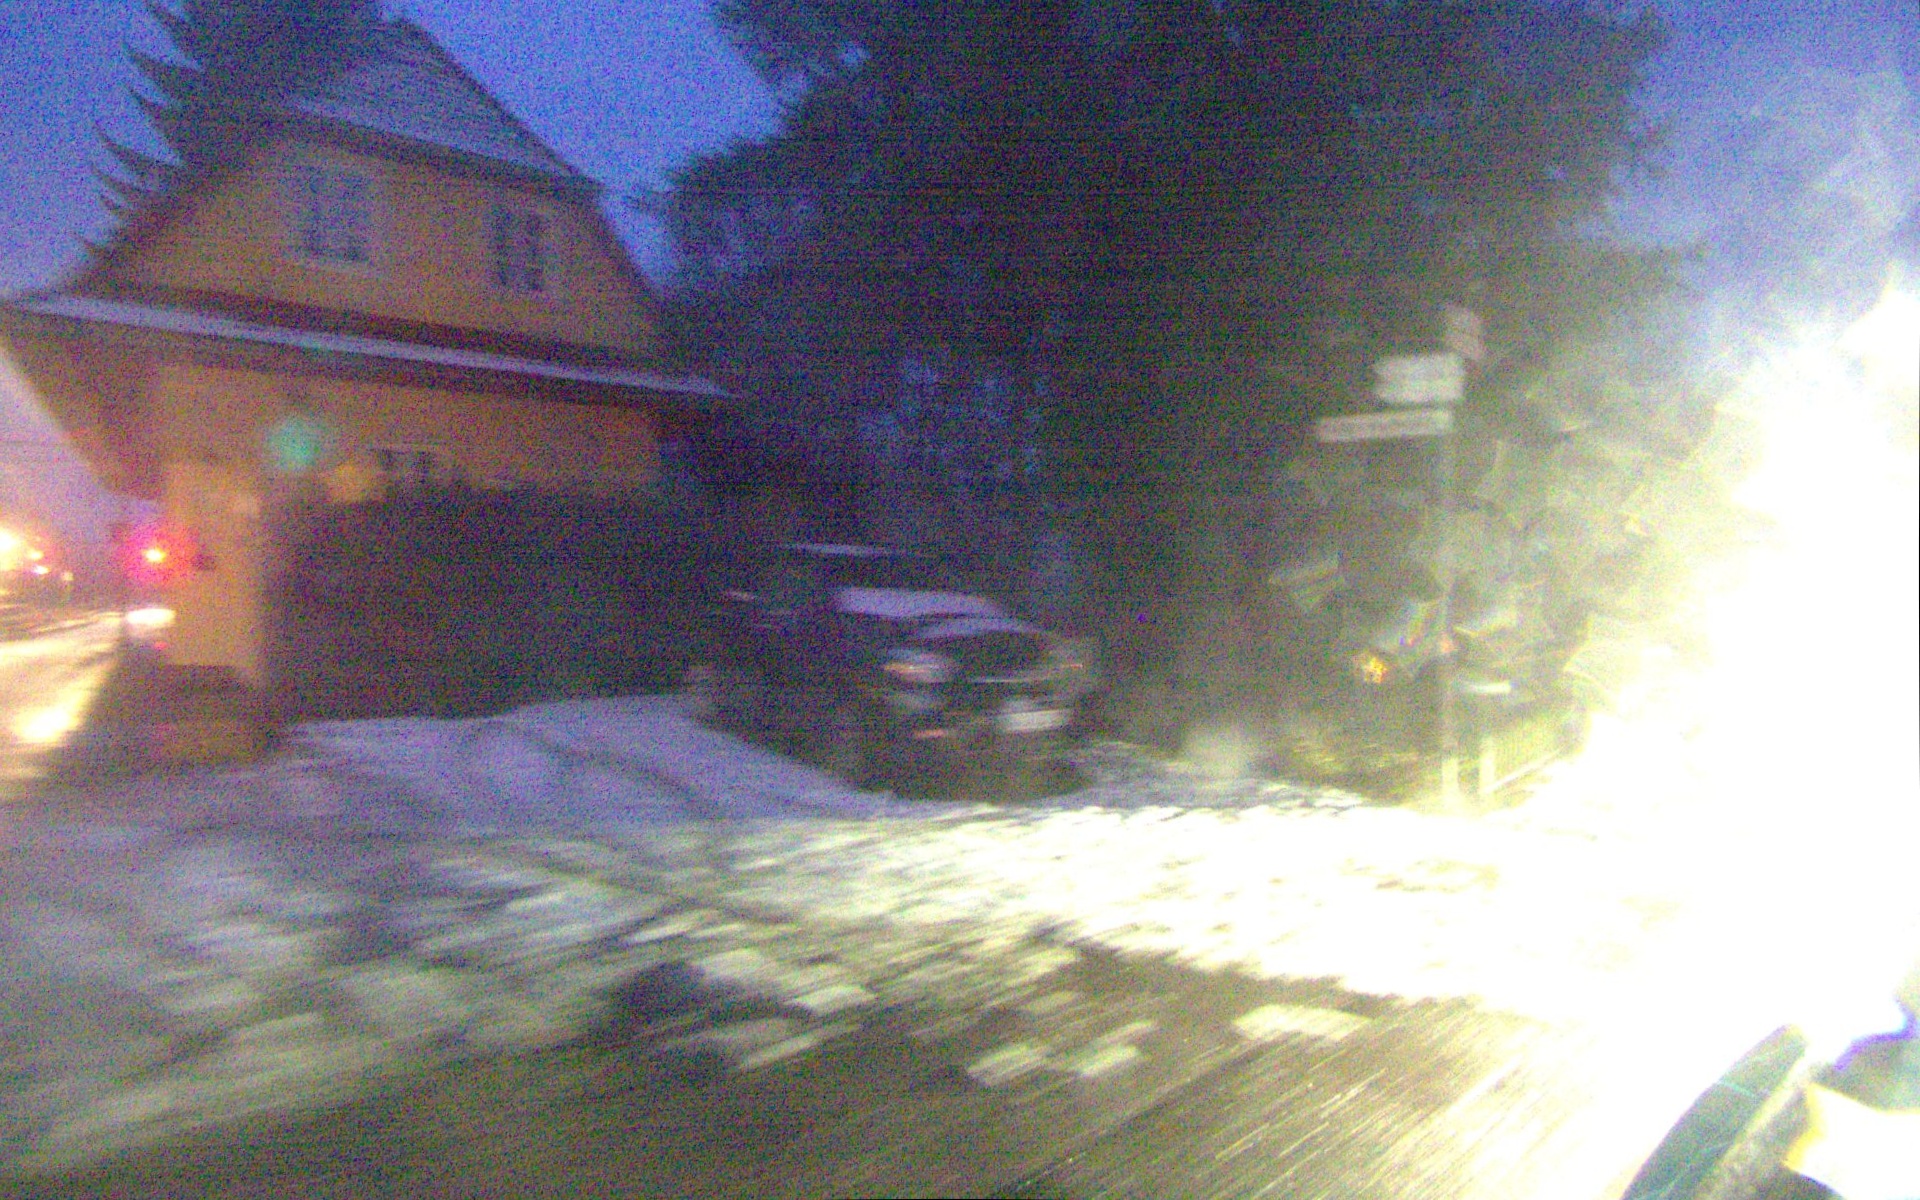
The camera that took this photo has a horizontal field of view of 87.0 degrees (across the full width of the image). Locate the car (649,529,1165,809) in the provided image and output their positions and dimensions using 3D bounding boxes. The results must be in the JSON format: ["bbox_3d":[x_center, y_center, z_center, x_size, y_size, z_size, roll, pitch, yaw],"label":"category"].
[{"bbox_3d":[-0.733,0.291,8.152,1.904,1.605,4.481,1,2,-38],"label":"car"}]
